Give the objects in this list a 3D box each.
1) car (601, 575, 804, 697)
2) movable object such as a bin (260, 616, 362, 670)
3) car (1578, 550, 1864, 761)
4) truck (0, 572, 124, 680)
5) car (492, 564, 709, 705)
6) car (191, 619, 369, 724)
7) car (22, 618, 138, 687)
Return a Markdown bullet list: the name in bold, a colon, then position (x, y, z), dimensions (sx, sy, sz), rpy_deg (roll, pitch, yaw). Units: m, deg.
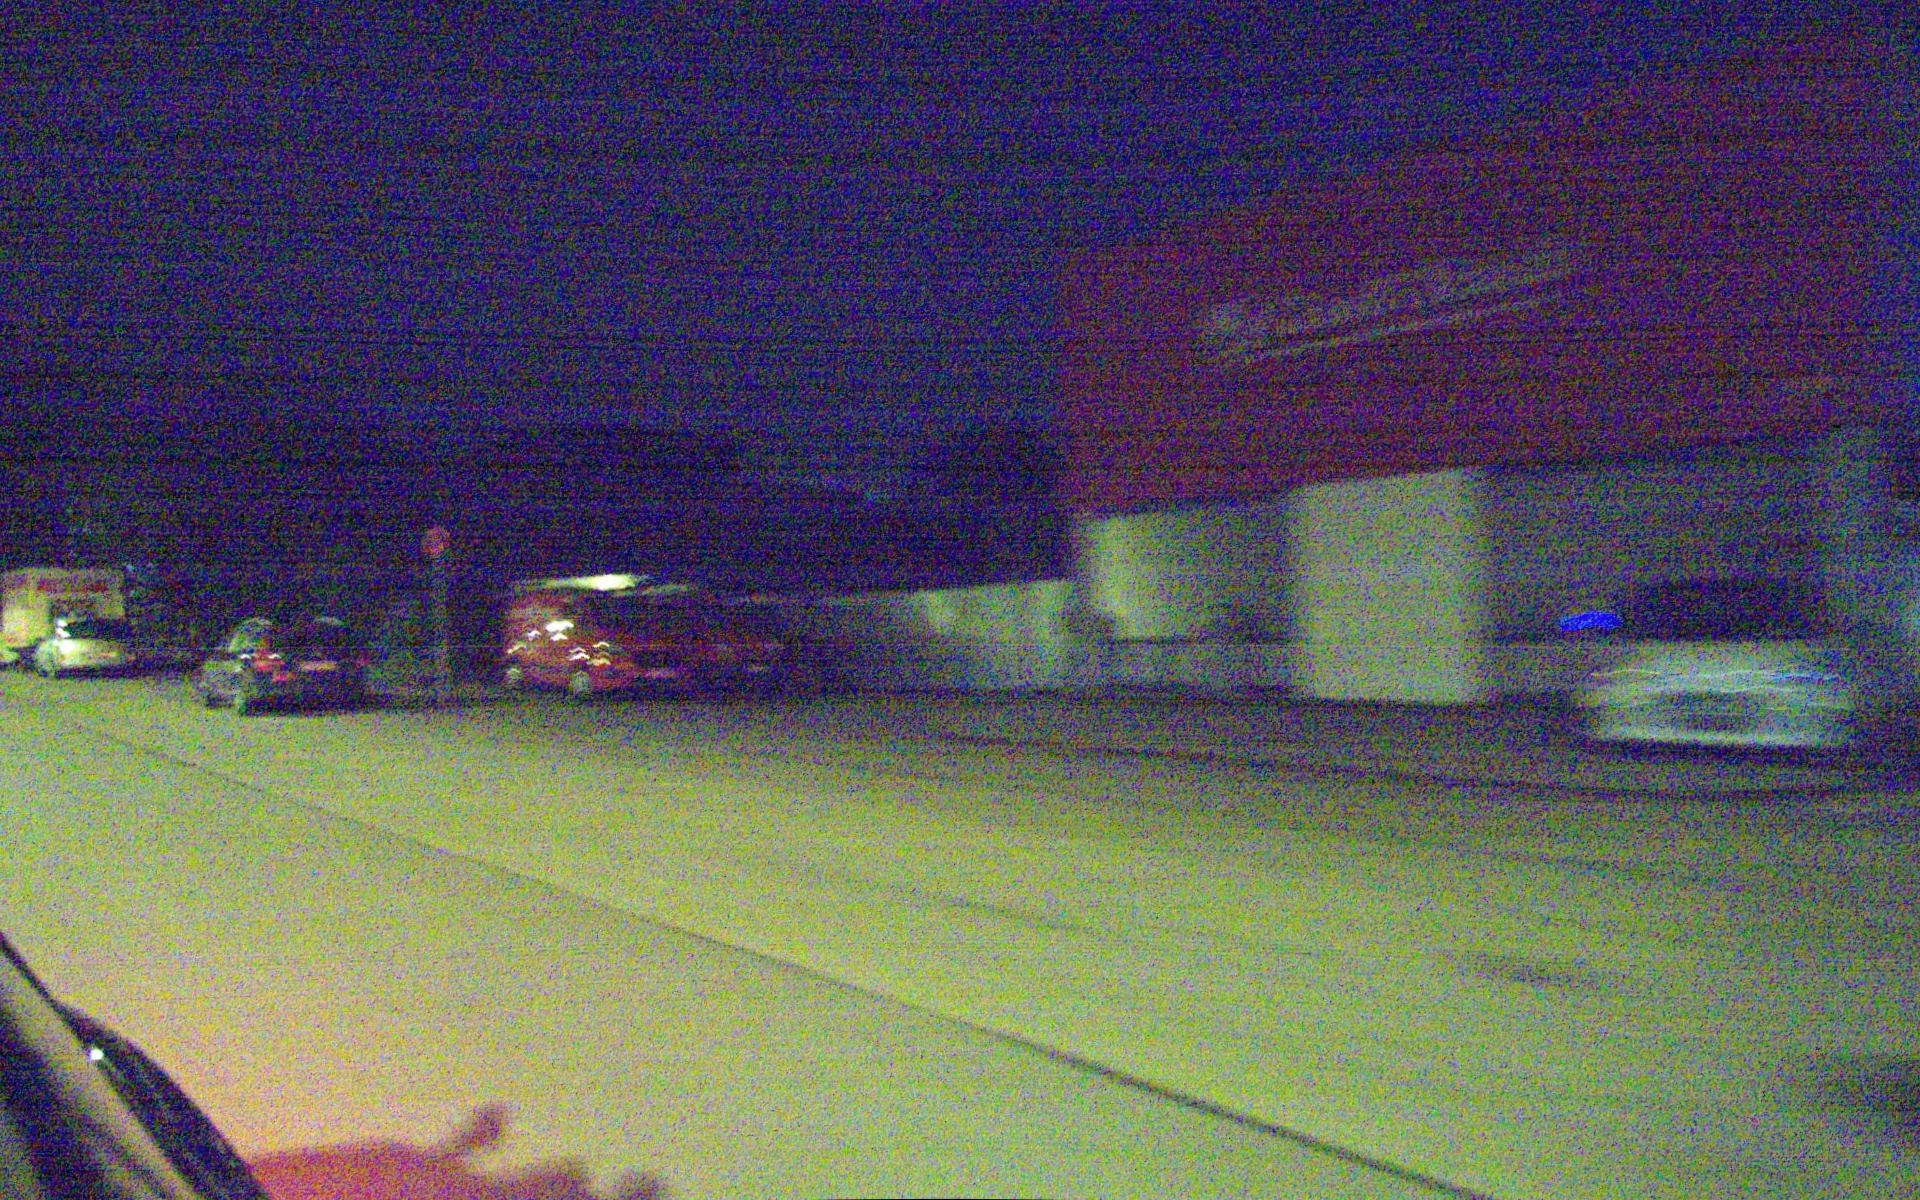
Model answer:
- **car**: position (-5.636, 0.746, 21.792), dimensions (2.182, 2.339, 4.626), rpy_deg (0, -2, -45)
- **movable object such as a bin**: position (-19.152, 1.244, 29.886), dimensions (2.308, 1.506, 1.417), rpy_deg (0, -1, -43)
- **car**: position (7.377, 0.459, 9.721), dimensions (1.816, 1.583, 3.946), rpy_deg (-2, -2, 41)
- **truck**: position (-30.634, 0.872, 34.097), dimensions (7.306, 3.305, 2.518), rpy_deg (-2, -1, 40)
- **car**: position (-6.981, 0.661, 19.342), dimensions (1.971, 2.339, 4.969), rpy_deg (2, -3, -45)
- **car**: position (-11.681, 1.134, 17.263), dimensions (1.735, 1.538, 4.325), rpy_deg (-1, -1, -45)
- **car**: position (-25.649, 1.489, 29.451), dimensions (4.834, 1.830, 1.811), rpy_deg (-2, -2, 40)
